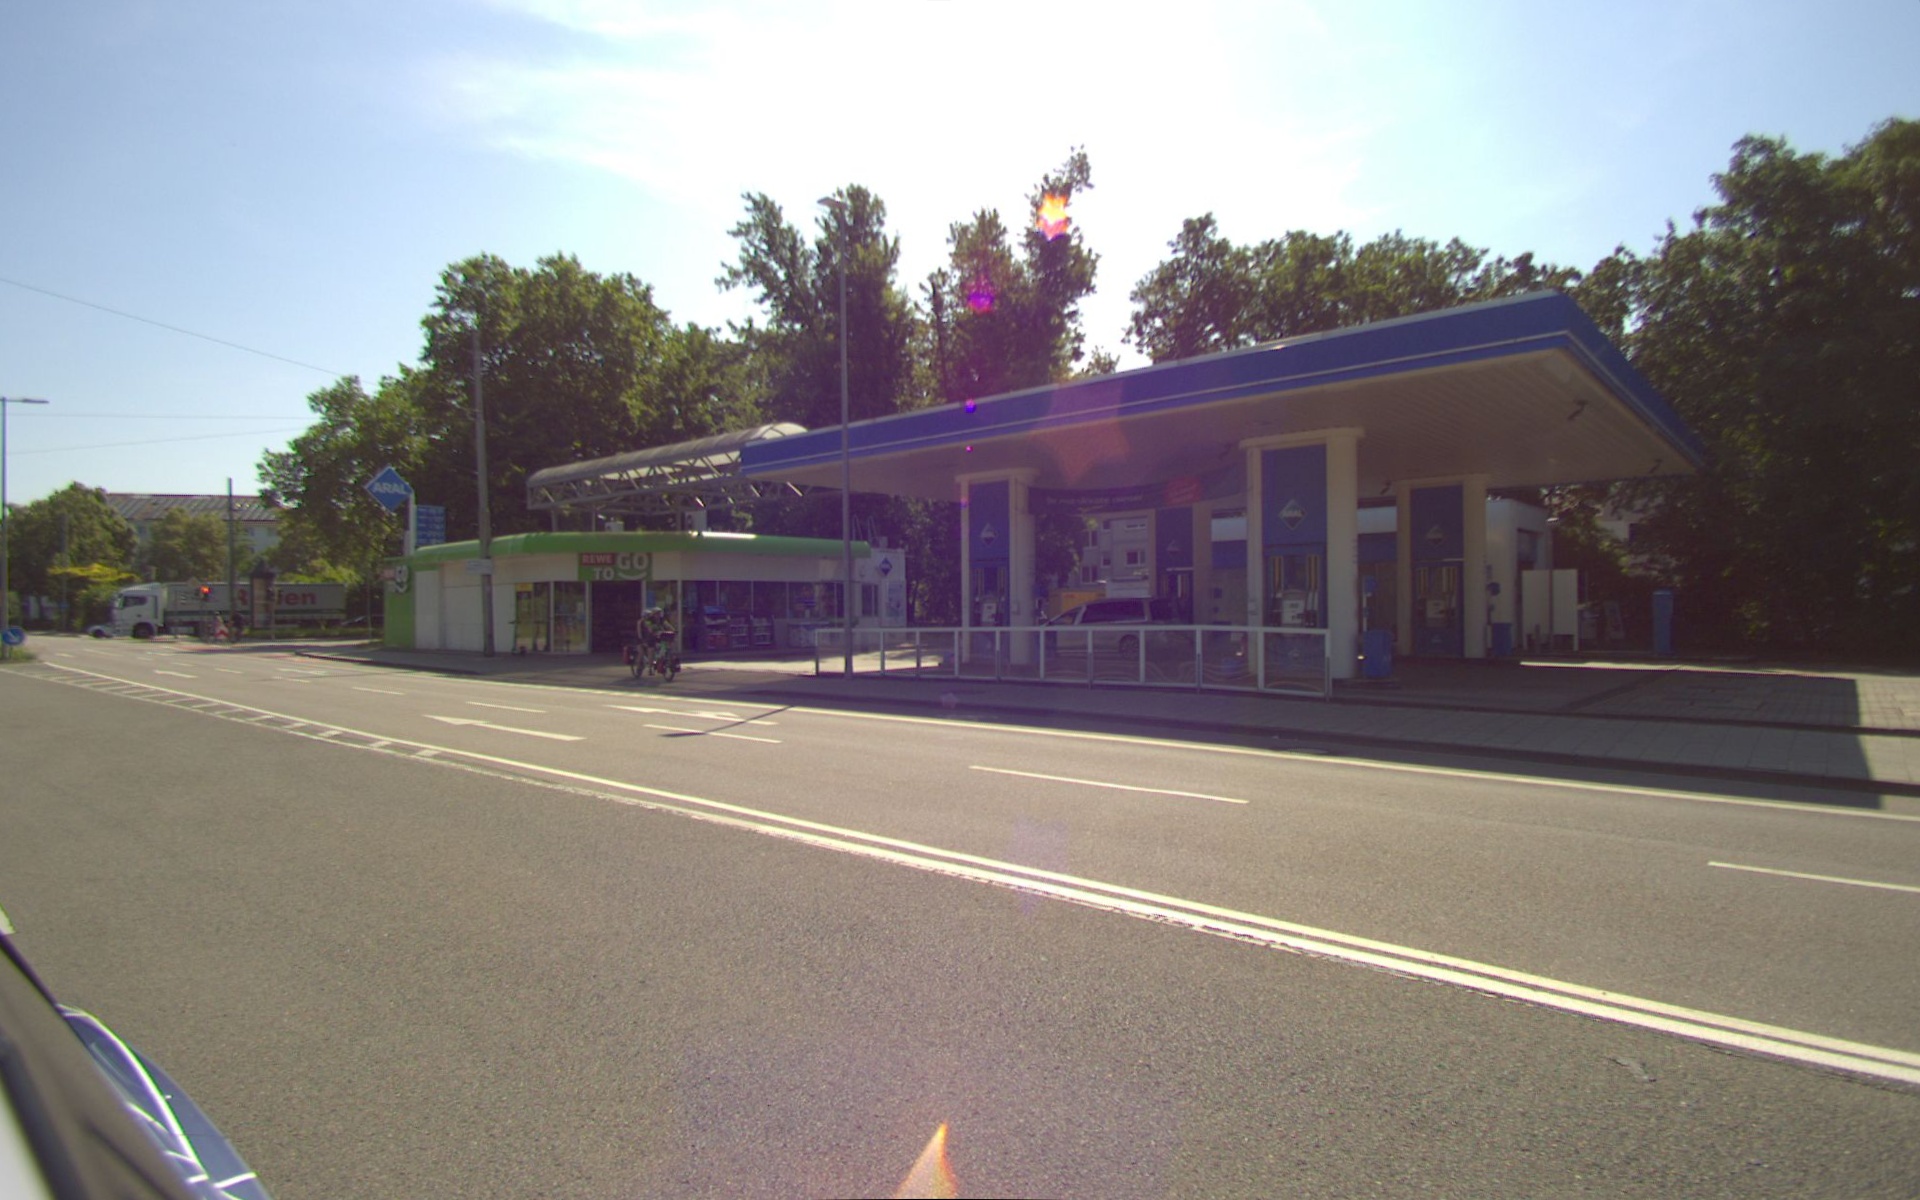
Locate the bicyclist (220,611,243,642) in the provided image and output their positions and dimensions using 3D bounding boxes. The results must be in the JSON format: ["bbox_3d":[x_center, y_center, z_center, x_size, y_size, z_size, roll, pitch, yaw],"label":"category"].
[{"bbox_3d":[-40.328,1.475,56.041,0.826,1.687,0.826,-3,-2,41],"label":"bicyclist"}]

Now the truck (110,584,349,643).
[{"bbox_3d":[-53.639,0.956,74.959,14.088,4.038,2.857,0,-1,-44],"label":"truck"}]

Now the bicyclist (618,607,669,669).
[{"bbox_3d":[-7.705,0.926,24.638,0.832,1.446,0.838,-3,0,42],"label":"bicyclist"}]

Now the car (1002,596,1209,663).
[{"bbox_3d":[4.125,0.848,29.649,5.960,1.795,1.825,-1,-1,40],"label":"car"}]

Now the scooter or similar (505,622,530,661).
[{"bbox_3d":[-14.832,1.378,33.895,0.436,1.247,1.348,0,-1,-39],"label":"scooter or similar"}]

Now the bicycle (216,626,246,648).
[{"bbox_3d":[-40.426,2.017,56.140,2.211,1.184,0.927,-1,-1,43],"label":"bicycle"}]

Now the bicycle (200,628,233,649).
[{"bbox_3d":[-39.780,2.045,54.160,2.069,1.066,0.745,-1,-1,32],"label":"bicycle"}]

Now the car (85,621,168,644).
[{"bbox_3d":[-61.052,2.361,74.208,4.324,1.522,1.761,-2,-1,-15],"label":"car"}]

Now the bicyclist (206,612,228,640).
[{"bbox_3d":[-39.663,1.399,54.041,0.737,1.431,0.702,-3,-1,33],"label":"bicyclist"}]

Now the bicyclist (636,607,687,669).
[{"bbox_3d":[-7.092,0.901,24.059,0.832,1.447,0.837,-3,-2,43],"label":"bicyclist"}]

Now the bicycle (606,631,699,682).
[{"bbox_3d":[-7.418,1.336,24.284,2.773,1.102,0.816,-3,2,44],"label":"bicycle"}]
